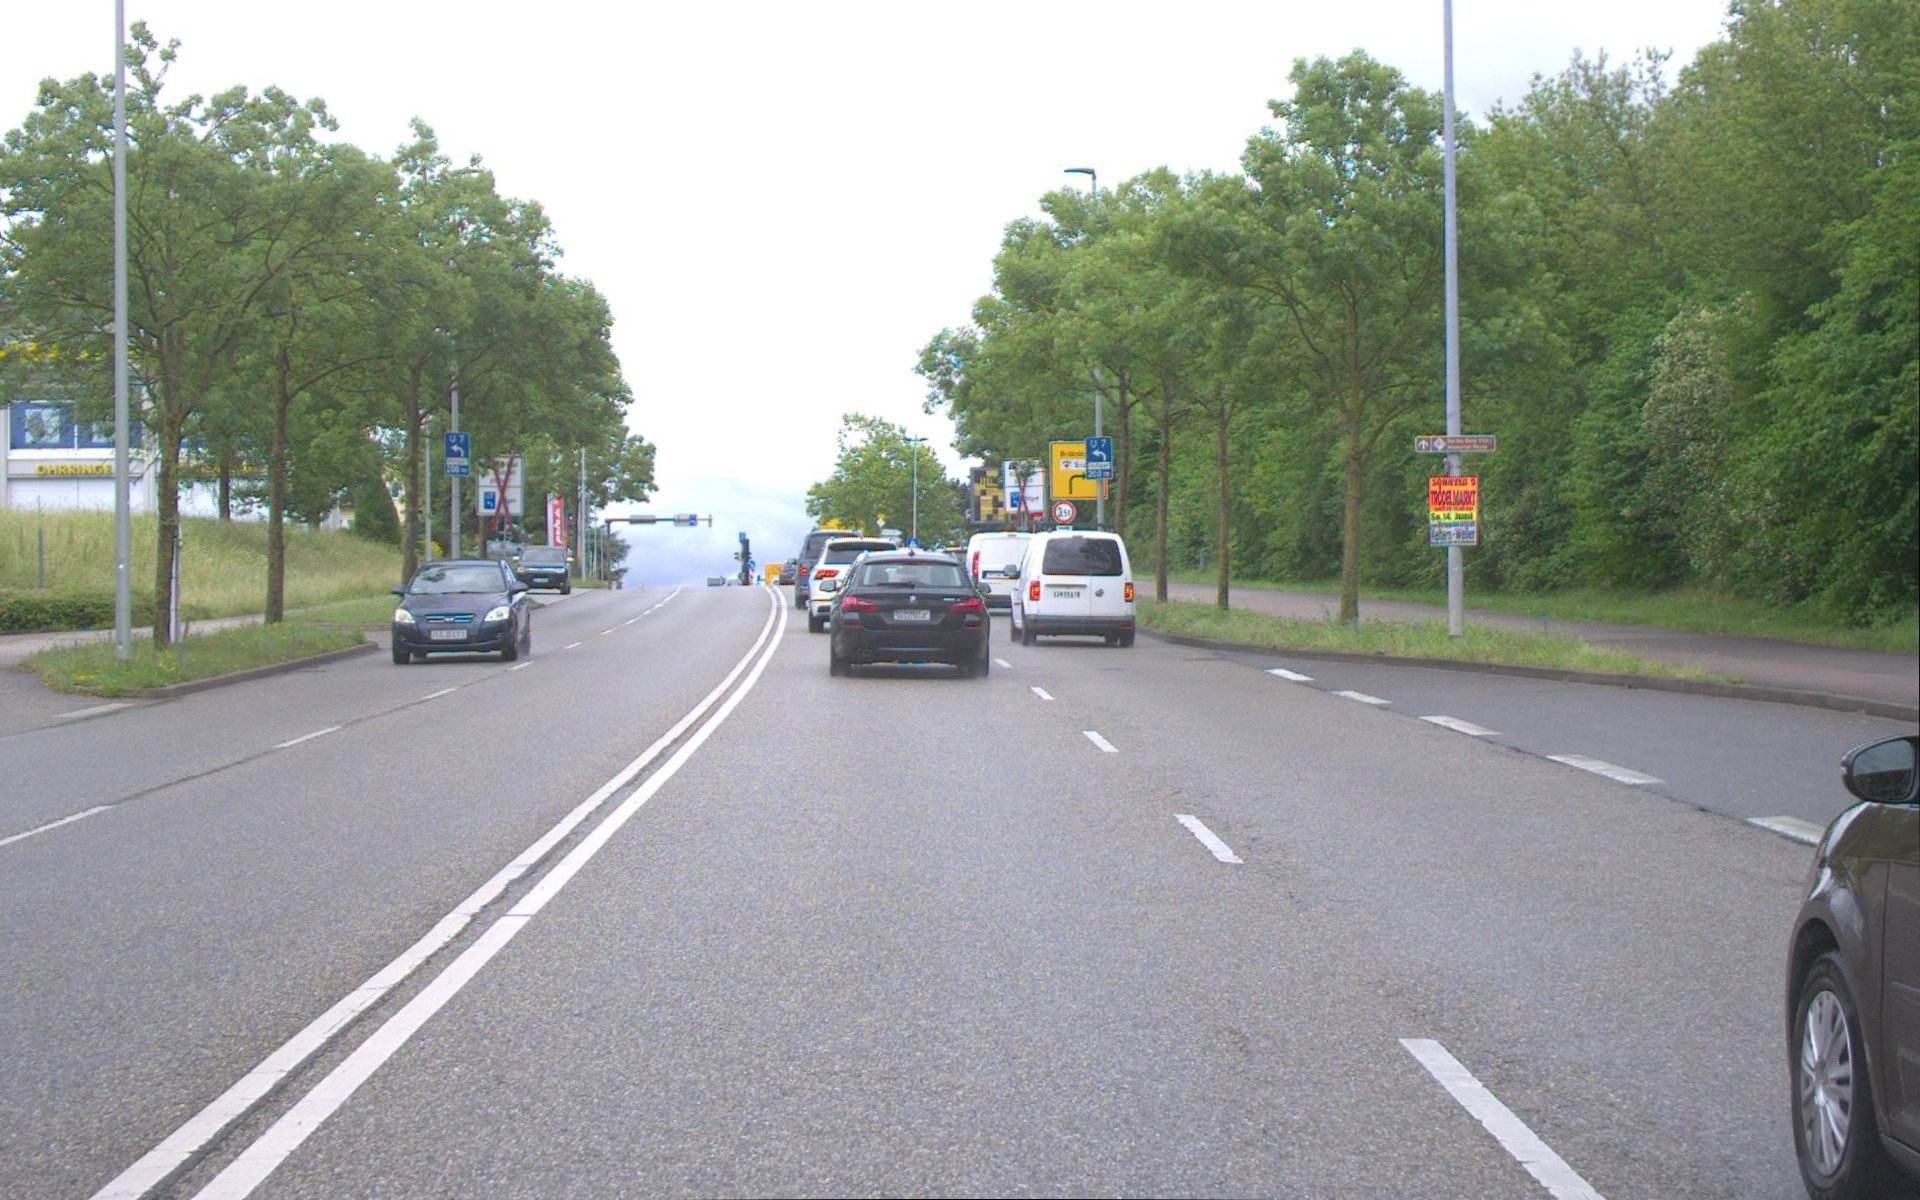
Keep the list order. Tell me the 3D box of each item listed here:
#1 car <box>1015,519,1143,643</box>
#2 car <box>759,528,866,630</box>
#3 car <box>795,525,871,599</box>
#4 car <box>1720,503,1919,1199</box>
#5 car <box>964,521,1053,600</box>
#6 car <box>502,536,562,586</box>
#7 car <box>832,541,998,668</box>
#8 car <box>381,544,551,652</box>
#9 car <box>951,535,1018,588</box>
[{"bbox_3d":[1.837,-0.323,54.261,1.741,1.863,3.946,1,1,-2],"label":"car"},{"bbox_3d":[-2.556,-0.382,60.325,1.728,1.705,3.382,1,1,0],"label":"car"},{"bbox_3d":[-3.011,-0.912,82.096,1.758,1.702,3.946,0,1,-2],"label":"car"},{"bbox_3d":[2.792,0.617,6.290,1.714,1.591,4.131,1,1,-2],"label":"car"},{"bbox_3d":[1.059,-0.896,76.728,1.814,1.702,3.946,0,1,-2],"label":"car"},{"bbox_3d":[-14.735,-1.360,118.451,1.726,1.662,4.488,1,1,-3],"label":"car"},{"bbox_3d":[-0.553,0.024,40.895,1.855,1.414,3.957,1,1,-1],"label":"car"},{"bbox_3d":[-7.192,-0.065,50.350,1.737,1.449,4.000,-2,1,2],"label":"car"},{"bbox_3d":[0.641,-1.034,91.765,1.600,1.367,3.680,-1,1,-2],"label":"car"}]
